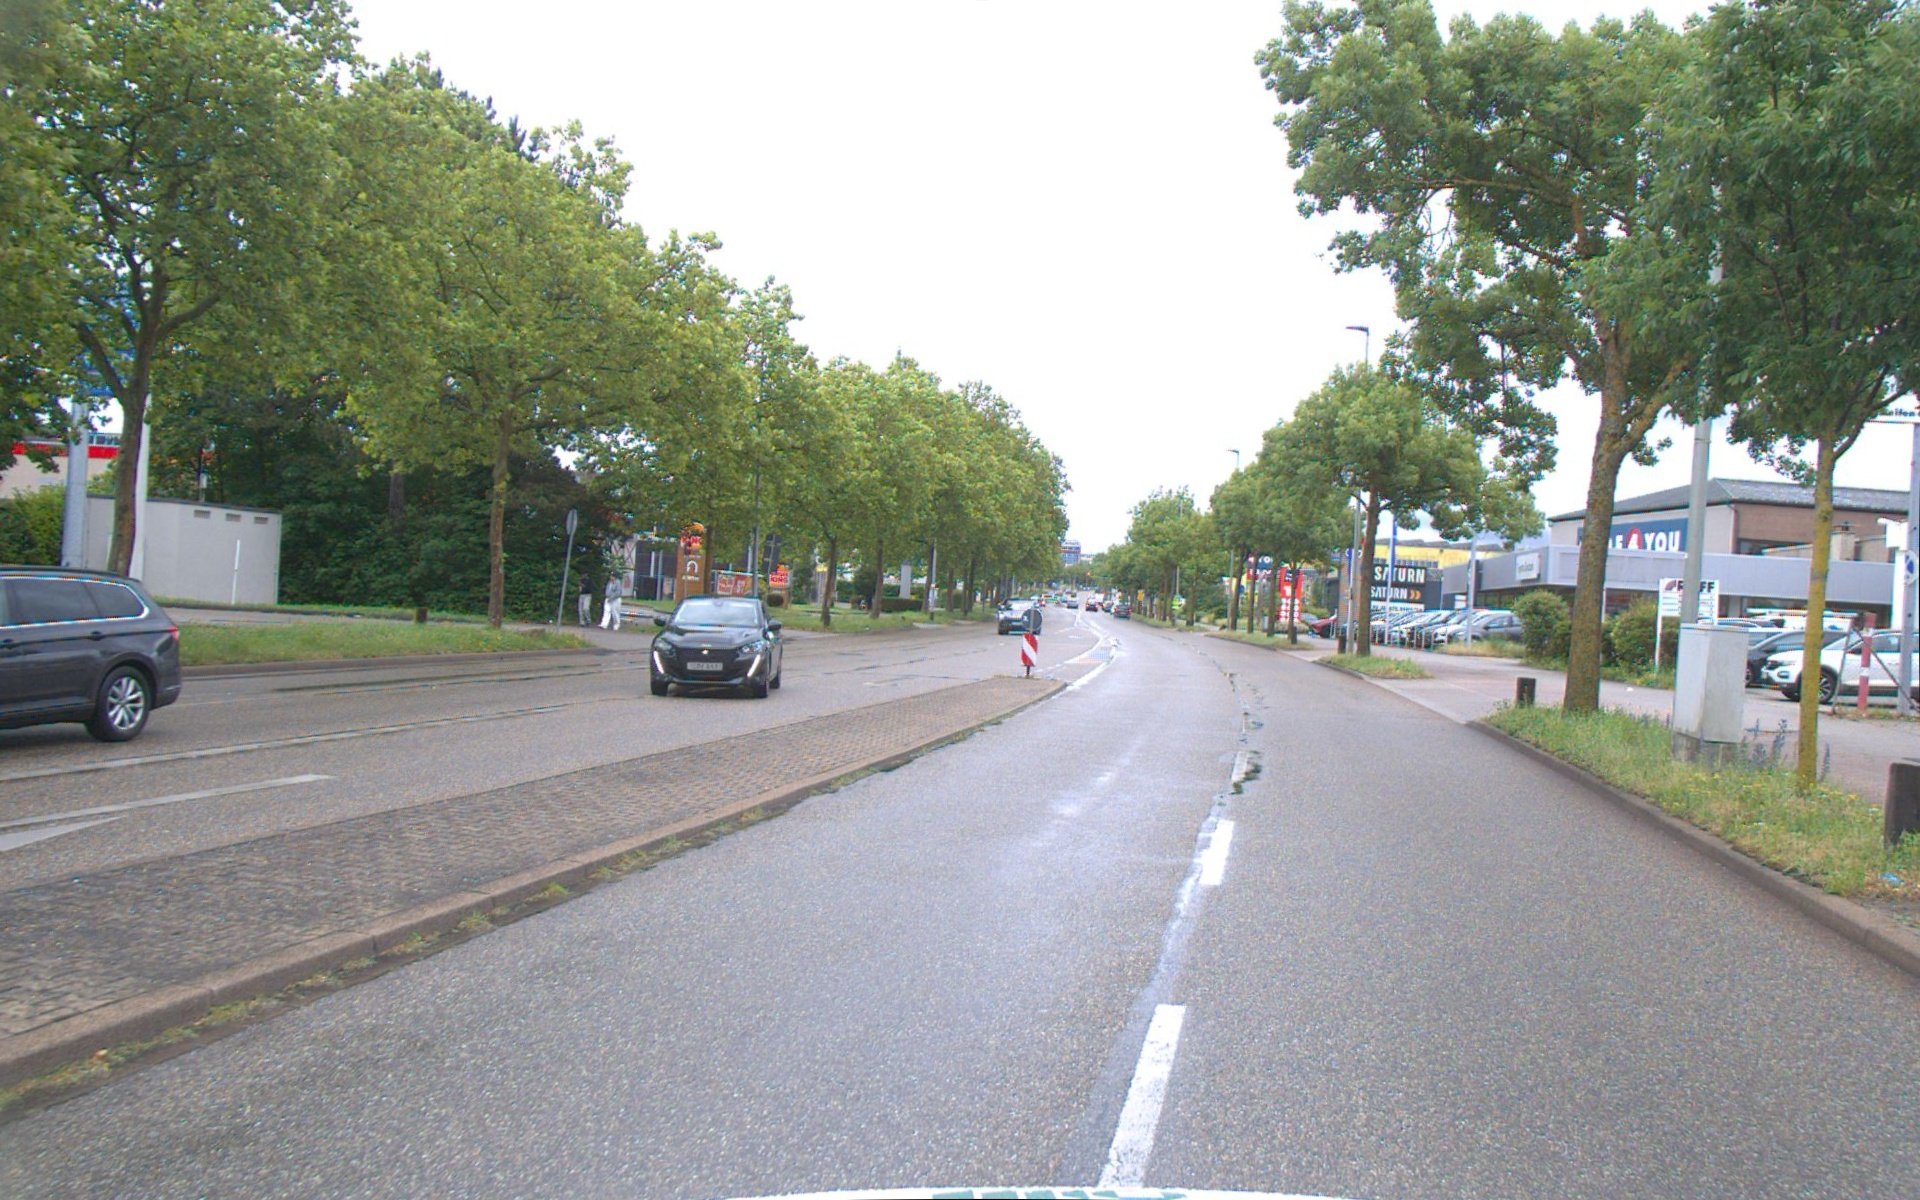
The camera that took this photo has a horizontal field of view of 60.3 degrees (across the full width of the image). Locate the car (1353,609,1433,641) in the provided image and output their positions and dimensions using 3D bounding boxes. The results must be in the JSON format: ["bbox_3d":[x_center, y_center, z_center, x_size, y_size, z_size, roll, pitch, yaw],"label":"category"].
[{"bbox_3d":[22.649,1.317,86.600,3.759,1.593,1.667,-1,0,2],"label":"car"}]

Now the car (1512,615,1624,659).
[{"bbox_3d":[23.087,1.404,62.910,3.601,1.489,1.795,2,0,5],"label":"car"}]

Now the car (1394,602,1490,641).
[{"bbox_3d":[22.140,0.991,76.058,3.904,1.615,1.813,-2,0,3],"label":"car"}]

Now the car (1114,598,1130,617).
[{"bbox_3d":[17.943,0.819,183.543,1.708,2.049,4.002,3,0,5],"label":"car"}]

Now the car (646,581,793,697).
[{"bbox_3d":[-3.530,0.535,24.877,1.609,1.534,3.893,2,0,-1],"label":"car"}]

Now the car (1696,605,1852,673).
[{"bbox_3d":[29.218,1.374,59.489,4.555,2.187,1.966,2,0,4],"label":"car"}]

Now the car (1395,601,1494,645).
[{"bbox_3d":[21.492,0.997,73.457,3.902,1.818,1.813,-2,-1,6],"label":"car"}]

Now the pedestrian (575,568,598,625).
[{"bbox_3d":[-11.437,-0.096,50.648,0.501,1.712,0.541,2,0,6],"label":"pedestrian"}]

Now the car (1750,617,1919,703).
[{"bbox_3d":[18.654,1.241,33.878,4.086,1.579,1.891,3,0,13],"label":"car"}]

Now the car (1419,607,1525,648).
[{"bbox_3d":[21.303,1.148,68.958,3.902,1.570,1.813,-2,-1,6],"label":"car"}]

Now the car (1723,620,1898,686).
[{"bbox_3d":[22.214,1.363,43.338,3.846,1.550,1.733,2,0,20],"label":"car"}]

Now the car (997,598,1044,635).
[{"bbox_3d":[2.878,0.787,77.967,1.773,1.589,4.601,2,-1,7],"label":"car"}]

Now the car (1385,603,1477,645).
[{"bbox_3d":[22.372,1.134,78.682,3.902,1.817,1.813,2,0,7],"label":"car"}]

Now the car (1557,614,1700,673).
[{"bbox_3d":[20.765,1.324,51.342,3.975,1.625,1.983,2,0,26],"label":"car"}]

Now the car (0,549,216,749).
[{"bbox_3d":[-8.276,0.343,13.018,1.951,1.534,4.734,2,0,12],"label":"car"}]

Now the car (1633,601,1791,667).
[{"bbox_3d":[22.000,0.953,48.424,4.064,1.691,1.818,2,2,29],"label":"car"}]

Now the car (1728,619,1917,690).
[{"bbox_3d":[21.252,1.319,40.933,3.904,1.549,1.718,2,0,20],"label":"car"}]

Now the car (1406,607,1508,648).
[{"bbox_3d":[21.364,1.180,71.204,3.902,1.612,1.813,-2,0,6],"label":"car"}]

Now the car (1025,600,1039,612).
[{"bbox_3d":[9.979,0.838,229.957,1.766,1.488,3.848,2,0,5],"label":"car"}]

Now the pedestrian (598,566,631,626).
[{"bbox_3d":[-10.614,-0.118,50.820,0.652,1.797,0.582,4,0,28],"label":"pedestrian"}]

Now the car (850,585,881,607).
[{"bbox_3d":[-6.780,-0.271,119.378,1.785,1.512,3.941,2,0,3],"label":"car"}]

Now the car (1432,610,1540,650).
[{"bbox_3d":[21.055,1.191,66.322,3.752,1.487,1.829,-1,0,4],"label":"car"}]

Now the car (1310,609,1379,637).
[{"bbox_3d":[22.674,1.355,97.547,3.760,1.632,1.796,0,0,5],"label":"car"}]

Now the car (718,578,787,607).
[{"bbox_3d":[-10.583,-0.383,84.388,3.109,1.175,1.291,6,1,12],"label":"car"}]
